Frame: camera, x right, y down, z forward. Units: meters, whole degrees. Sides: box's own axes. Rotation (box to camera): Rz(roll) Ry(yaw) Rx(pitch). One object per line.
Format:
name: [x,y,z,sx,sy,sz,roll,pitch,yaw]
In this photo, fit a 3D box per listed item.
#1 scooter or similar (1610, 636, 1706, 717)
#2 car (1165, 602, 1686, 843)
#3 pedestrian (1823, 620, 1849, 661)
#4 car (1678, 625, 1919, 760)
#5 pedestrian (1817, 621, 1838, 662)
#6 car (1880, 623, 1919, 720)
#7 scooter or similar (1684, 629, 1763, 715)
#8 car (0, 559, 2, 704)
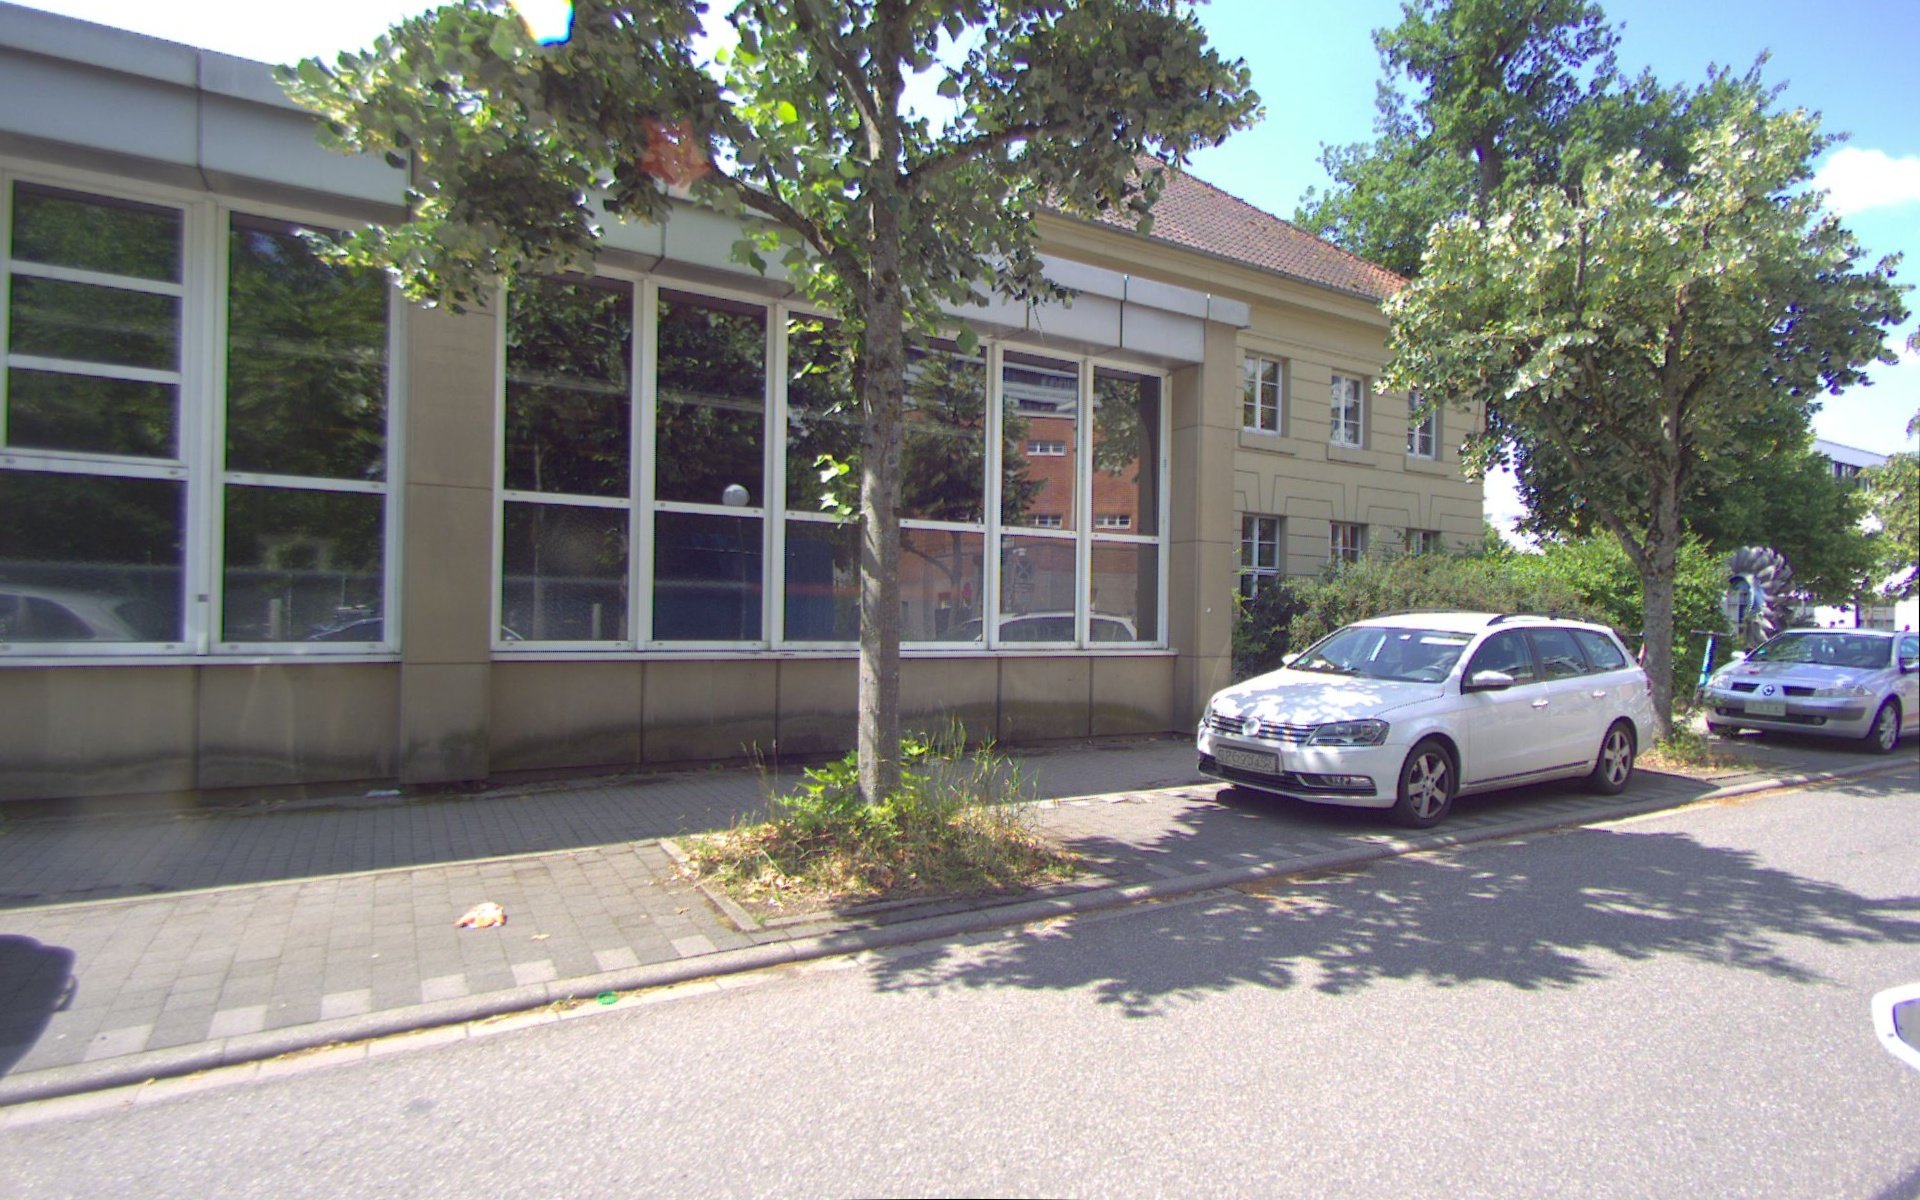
scooter or similar: [10.541,1.146,15.170,1.205,1.187,0.471,1,0,-11]
car: [3.967,0.828,8.291,4.533,1.476,1.715,2,1,-33]
pedestrian: [39.075,1.794,44.817,0.629,1.772,0.690,1,0,-30]
car: [10.958,1.044,12.479,4.115,1.362,1.717,1,1,-29]
pedestrian: [38.456,1.847,44.532,0.579,1.788,0.549,1,0,-30]
car: [16.115,1.117,15.619,3.763,1.430,1.654,1,0,-31]
scooter or similar: [12.150,1.125,15.978,1.214,1.304,0.522,0,-3,-31]
car: [-5.432,0.589,2.525,4.068,1.577,1.747,2,1,-33]
